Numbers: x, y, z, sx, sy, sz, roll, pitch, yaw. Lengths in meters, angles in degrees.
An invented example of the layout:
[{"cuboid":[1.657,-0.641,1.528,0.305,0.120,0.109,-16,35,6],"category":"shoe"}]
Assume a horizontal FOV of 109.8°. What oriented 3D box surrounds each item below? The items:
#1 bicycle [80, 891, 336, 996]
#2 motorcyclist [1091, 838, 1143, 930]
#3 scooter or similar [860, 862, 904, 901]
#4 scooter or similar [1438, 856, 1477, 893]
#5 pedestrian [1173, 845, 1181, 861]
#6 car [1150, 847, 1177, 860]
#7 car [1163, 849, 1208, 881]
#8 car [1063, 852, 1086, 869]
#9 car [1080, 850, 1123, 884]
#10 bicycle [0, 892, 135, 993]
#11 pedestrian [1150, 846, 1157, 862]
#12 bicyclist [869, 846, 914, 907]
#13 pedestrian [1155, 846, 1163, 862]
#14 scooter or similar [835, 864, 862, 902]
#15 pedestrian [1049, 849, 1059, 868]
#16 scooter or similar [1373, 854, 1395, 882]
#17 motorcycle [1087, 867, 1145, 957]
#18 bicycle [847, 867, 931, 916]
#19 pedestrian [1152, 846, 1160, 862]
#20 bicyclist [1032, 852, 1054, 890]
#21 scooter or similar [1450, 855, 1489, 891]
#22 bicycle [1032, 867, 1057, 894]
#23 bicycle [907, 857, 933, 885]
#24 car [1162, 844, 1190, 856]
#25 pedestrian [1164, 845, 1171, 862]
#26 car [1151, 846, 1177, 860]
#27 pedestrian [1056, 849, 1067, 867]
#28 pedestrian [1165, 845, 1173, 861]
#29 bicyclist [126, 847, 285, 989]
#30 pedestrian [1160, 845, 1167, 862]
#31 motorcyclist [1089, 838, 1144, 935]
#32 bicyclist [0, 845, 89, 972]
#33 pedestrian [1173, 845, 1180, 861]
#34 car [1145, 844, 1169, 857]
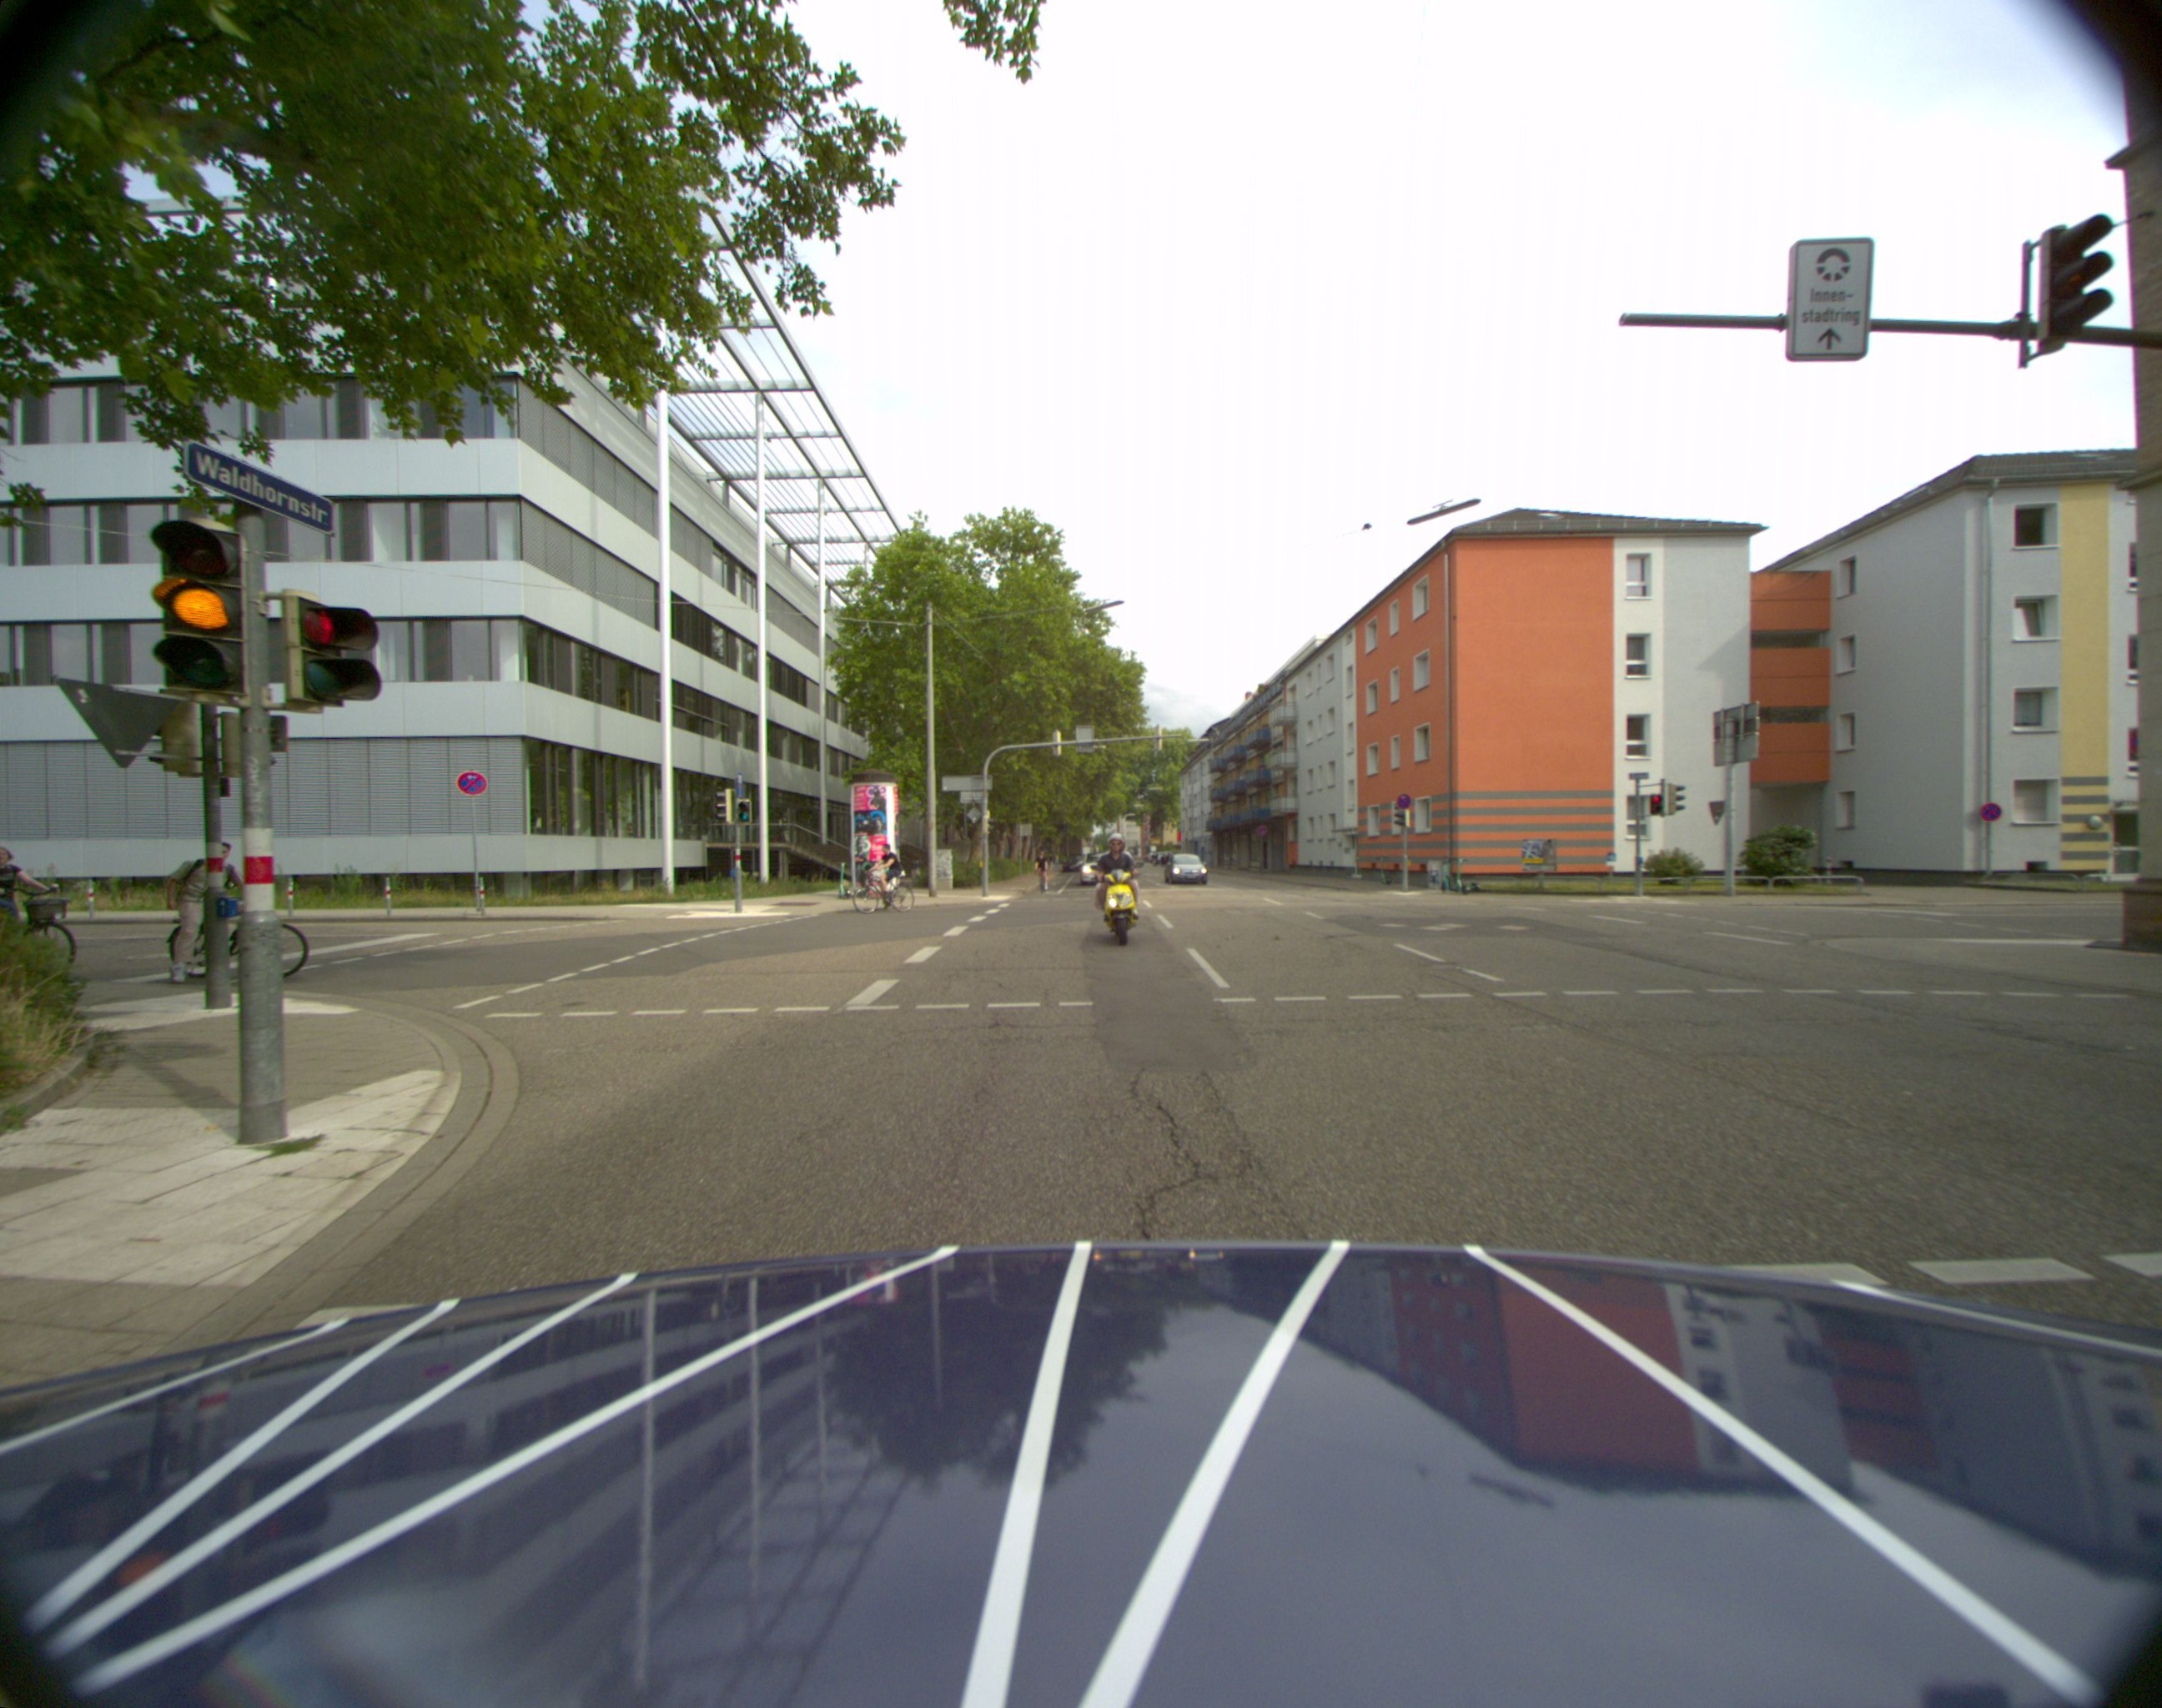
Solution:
[{"cuboid":[-10.815,1.090,9.469,2.249,1.166,0.916,-1,2,6],"category":"bicycle"},{"cuboid":[0.581,0.458,12.176,0.781,1.419,0.689,-1,1,3],"category":"motorcyclist"},{"cuboid":[-6.401,0.875,24.413,1.309,1.202,0.344,1,1,5],"category":"scooter or similar"},{"cuboid":[12.329,0.663,24.909,0.330,1.172,1.341,-3,0,-12],"category":"scooter or similar"},{"cuboid":[12.042,-0.124,95.319,0.842,2.002,0.875,-2,1,5],"category":"pedestrian"},{"cuboid":[13.203,-0.089,121.716,3.997,2.002,2.000,-2,0,0],"category":"car"},{"cuboid":[5.007,0.506,36.851,1.673,1.430,3.820,-1,0,0],"category":"car"},{"cuboid":[-0.605,0.623,74.070,1.998,1.532,4.272,-2,0,3],"category":"car"},{"cuboid":[1.125,0.604,38.711,1.998,1.543,4.522,-2,0,3],"category":"car"},{"cuboid":[-13.881,1.117,9.833,2.249,1.166,0.916,-1,2,6],"category":"bicycle"},{"cuboid":[9.290,-0.014,97.138,0.842,2.002,0.875,-2,1,5],"category":"pedestrian"},{"cuboid":[-5.062,0.592,20.278,0.771,1.574,0.803,-3,0,43],"category":"bicyclist"},{"cuboid":[10.036,-0.046,97.823,0.842,2.002,0.875,-2,1,5],"category":"pedestrian"},{"cuboid":[-7.481,0.913,24.379,0.473,1.131,1.307,1,1,-33],"category":"scooter or similar"},{"cuboid":[-2.948,0.466,82.690,1.003,2.002,0.997,-2,1,3],"category":"pedestrian"},{"cuboid":[12.742,0.584,31.965,0.369,1.117,1.354,-2,0,1],"category":"scooter or similar"},{"cuboid":[0.546,0.829,11.619,0.781,1.171,1.992,-1,1,3],"category":"motorcycle"},{"cuboid":[-5.090,0.977,20.209,0.771,1.124,2.008,-3,0,43],"category":"bicycle"},{"cuboid":[9.725,-0.035,98.647,0.842,2.002,0.875,-2,1,5],"category":"pedestrian"},{"cuboid":[-1.510,0.674,30.605,0.784,1.438,0.914,-2,1,0],"category":"bicyclist"},{"cuboid":[12.906,0.626,25.248,0.330,1.151,1.352,-3,0,-12],"category":"scooter or similar"},{"cuboid":[-1.451,1.042,30.431,0.770,1.009,2.408,-1,0,3],"category":"bicycle"},{"cuboid":[-6.969,0.709,32.970,0.700,1.162,1.725,-2,0,1],"category":"bicycle"},{"cuboid":[14.581,-0.580,116.762,3.870,1.678,1.882,-2,0,0],"category":"car"},{"cuboid":[10.809,-0.072,95.117,0.842,2.002,0.875,-2,1,5],"category":"pedestrian"},{"cuboid":[13.618,-0.156,124.442,3.997,2.002,2.000,-2,0,0],"category":"car"},{"cuboid":[-2.113,0.437,82.634,1.003,2.002,0.997,-2,1,3],"category":"pedestrian"},{"cuboid":[11.244,-0.095,97.133,0.842,2.002,0.875,-2,1,5],"category":"pedestrian"},{"cuboid":[-10.861,0.758,9.466,0.831,1.669,0.916,-1,2,5],"category":"bicyclist"},{"cuboid":[10.433,-0.058,95.855,0.842,2.002,0.875,-2,1,5],"category":"pedestrian"},{"cuboid":[0.548,0.477,11.593,0.781,1.419,0.764,-1,1,3],"category":"motorcyclist"},{"cuboid":[-13.872,0.684,9.815,0.831,1.568,0.916,-1,2,5],"category":"bicyclist"},{"cuboid":[12.239,-0.137,97.629,0.842,2.002,0.875,-2,1,5],"category":"pedestrian"},{"cuboid":[13.360,-0.592,133.705,3.997,2.002,2.000,-2,0,0],"category":"car"}]
